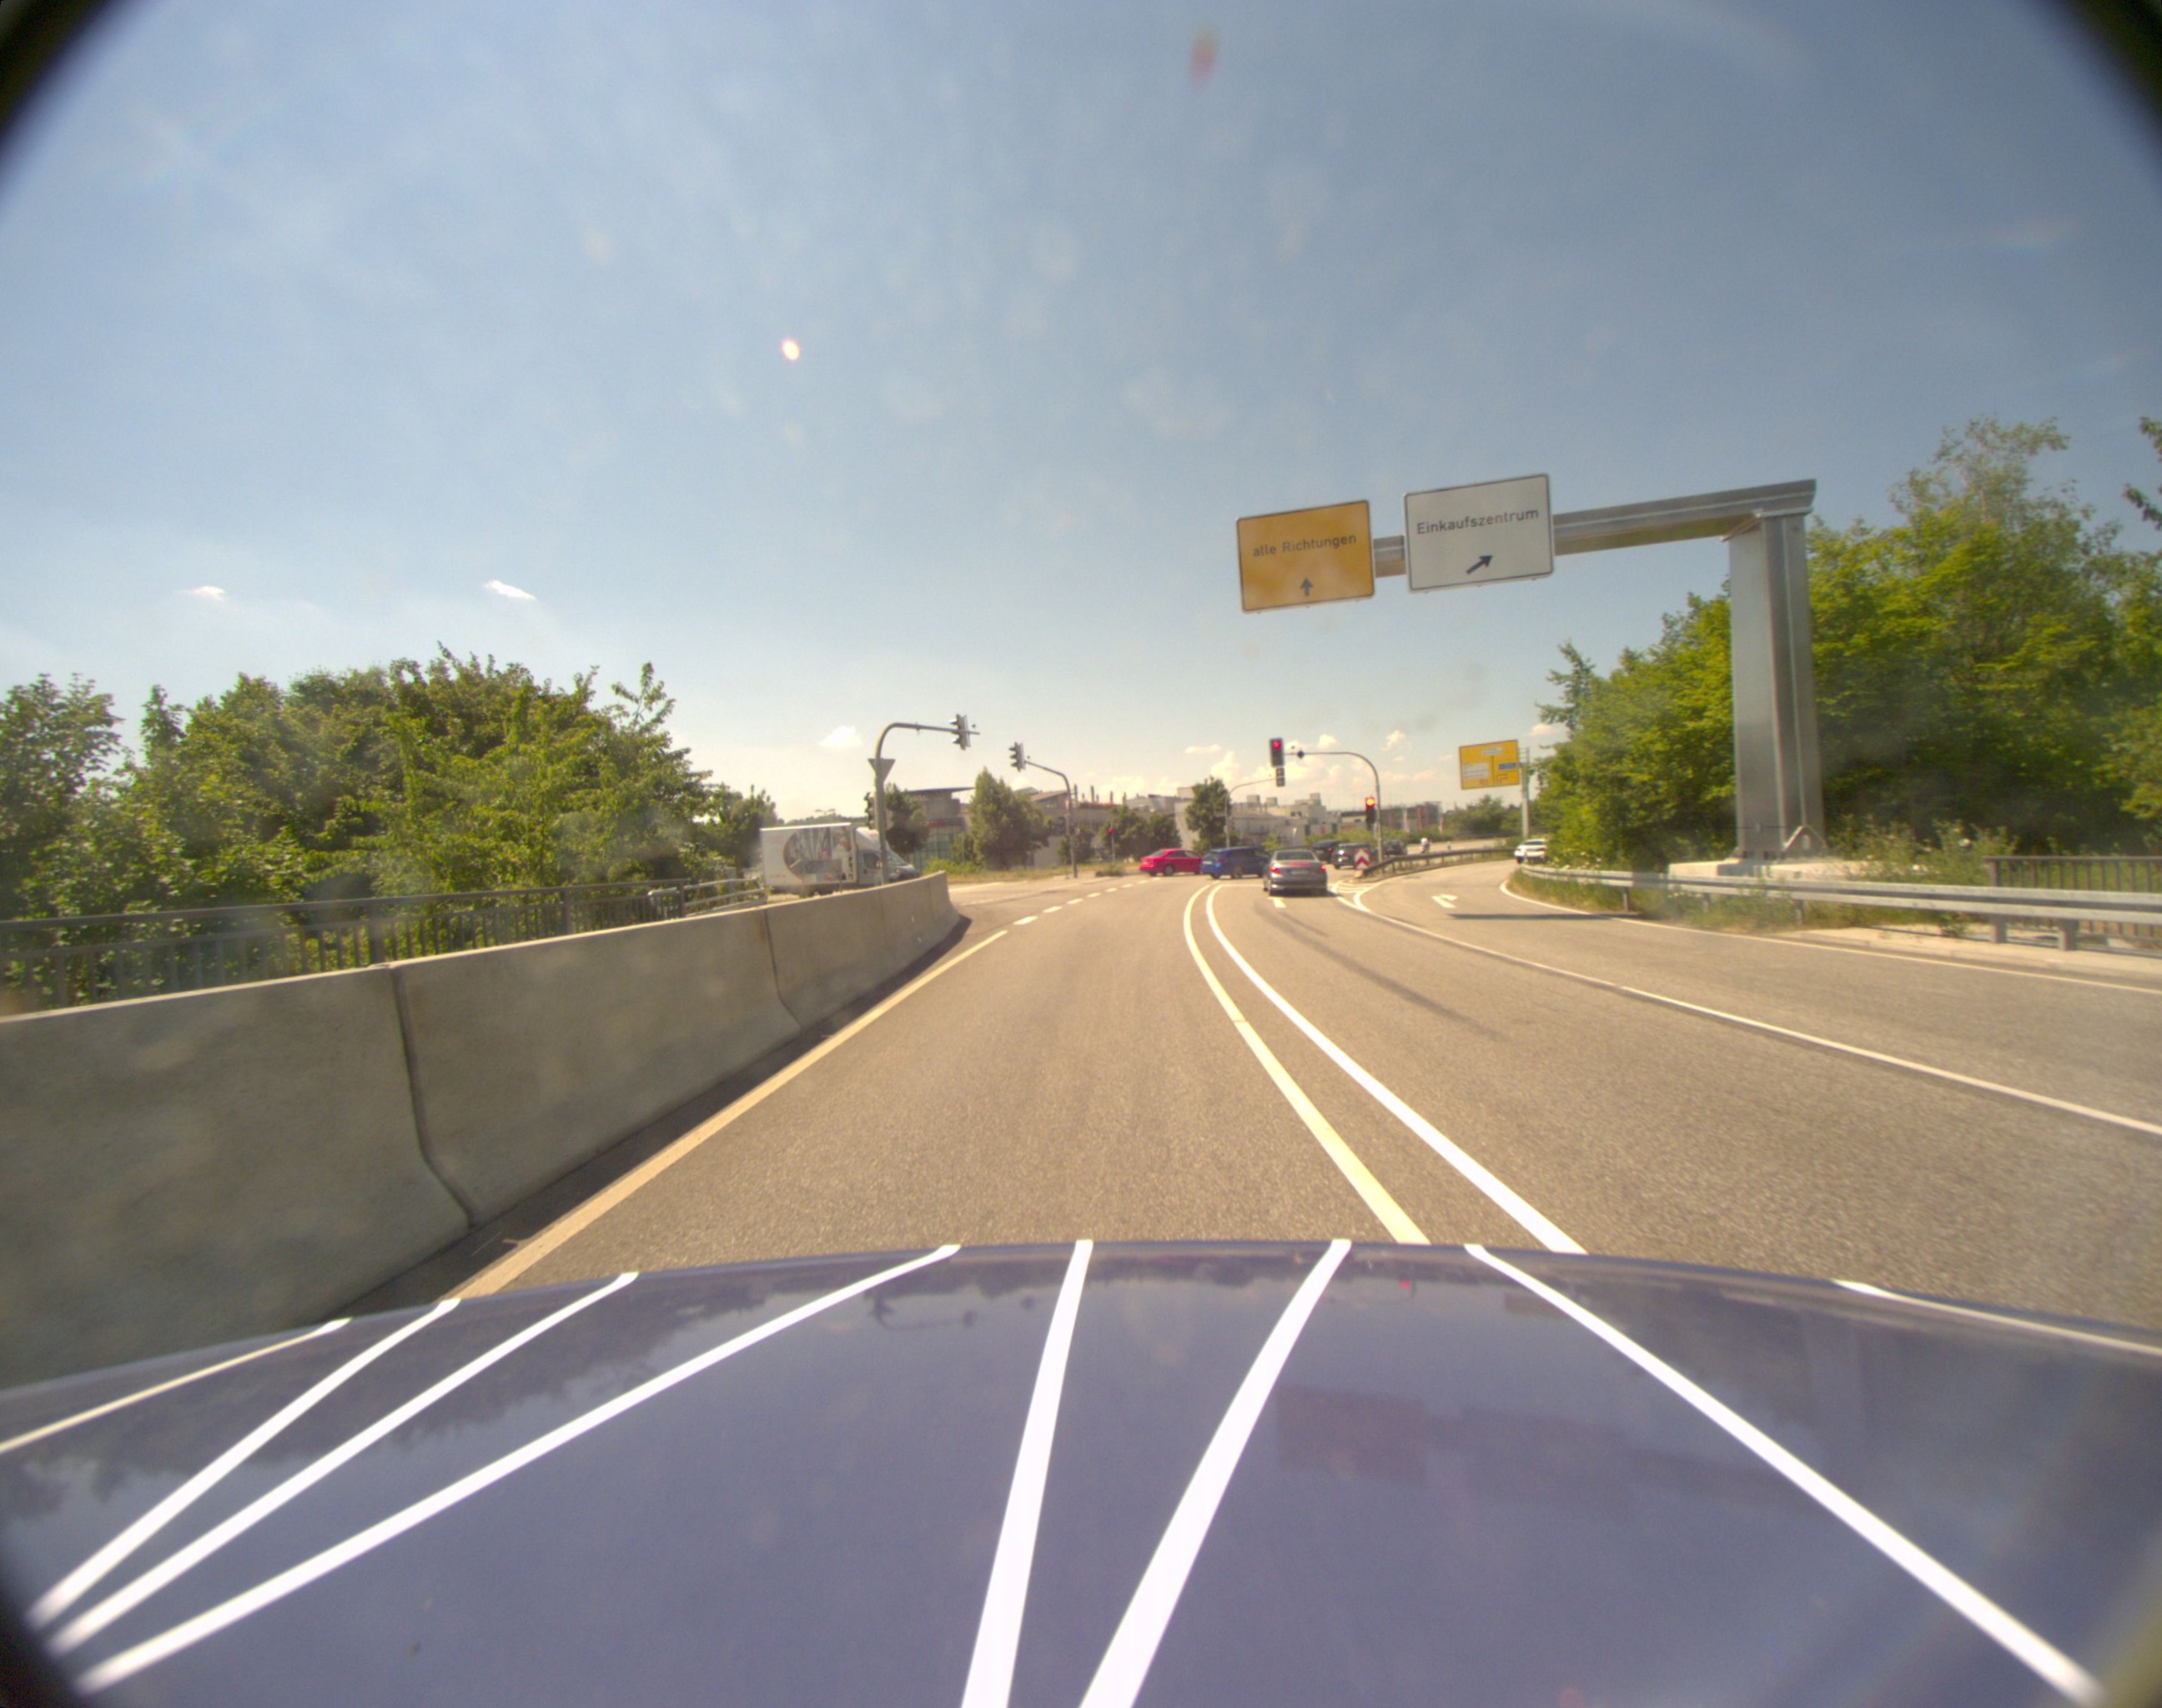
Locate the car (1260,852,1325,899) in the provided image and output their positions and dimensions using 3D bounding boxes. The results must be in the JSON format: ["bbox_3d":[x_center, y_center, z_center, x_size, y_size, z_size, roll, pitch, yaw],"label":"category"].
[{"bbox_3d":[6.615,0.616,24.120,1.648,1.344,3.971,0,1,10],"label":"car"}]

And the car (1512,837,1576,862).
[{"bbox_3d":[28.189,-0.304,46.227,4.846,1.476,1.838,-1,1,-39],"label":"car"}]

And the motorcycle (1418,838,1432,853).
[{"bbox_3d":[31.327,-0.779,69.212,0.576,1.232,1.944,0,4,43],"label":"motorcycle"}]

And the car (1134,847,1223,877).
[{"bbox_3d":[5.203,0.393,40.437,4.454,1.380,1.662,-3,2,-24],"label":"car"}]

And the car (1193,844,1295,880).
[{"bbox_3d":[7.624,0.357,35.493,4.494,1.454,1.710,-2,0,-24],"label":"car"}]

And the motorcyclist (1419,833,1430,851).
[{"bbox_3d":[31.277,-1.112,69.163,0.611,1.532,0.848,0,5,43],"label":"motorcyclist"}]

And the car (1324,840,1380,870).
[{"bbox_3d":[15.808,0.010,44.136,1.778,1.474,4.437,1,4,37],"label":"car"}]

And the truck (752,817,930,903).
[{"bbox_3d":[-10.999,0.249,35.073,7.192,3.330,2.416,-4,3,10],"label":"truck"}]

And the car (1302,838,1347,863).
[{"bbox_3d":[16.948,-0.268,52.755,1.876,1.592,4.514,0,2,33],"label":"car"}]

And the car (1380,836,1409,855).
[{"bbox_3d":[25.542,-0.708,61.884,1.620,1.400,3.306,1,4,32],"label":"car"}]
